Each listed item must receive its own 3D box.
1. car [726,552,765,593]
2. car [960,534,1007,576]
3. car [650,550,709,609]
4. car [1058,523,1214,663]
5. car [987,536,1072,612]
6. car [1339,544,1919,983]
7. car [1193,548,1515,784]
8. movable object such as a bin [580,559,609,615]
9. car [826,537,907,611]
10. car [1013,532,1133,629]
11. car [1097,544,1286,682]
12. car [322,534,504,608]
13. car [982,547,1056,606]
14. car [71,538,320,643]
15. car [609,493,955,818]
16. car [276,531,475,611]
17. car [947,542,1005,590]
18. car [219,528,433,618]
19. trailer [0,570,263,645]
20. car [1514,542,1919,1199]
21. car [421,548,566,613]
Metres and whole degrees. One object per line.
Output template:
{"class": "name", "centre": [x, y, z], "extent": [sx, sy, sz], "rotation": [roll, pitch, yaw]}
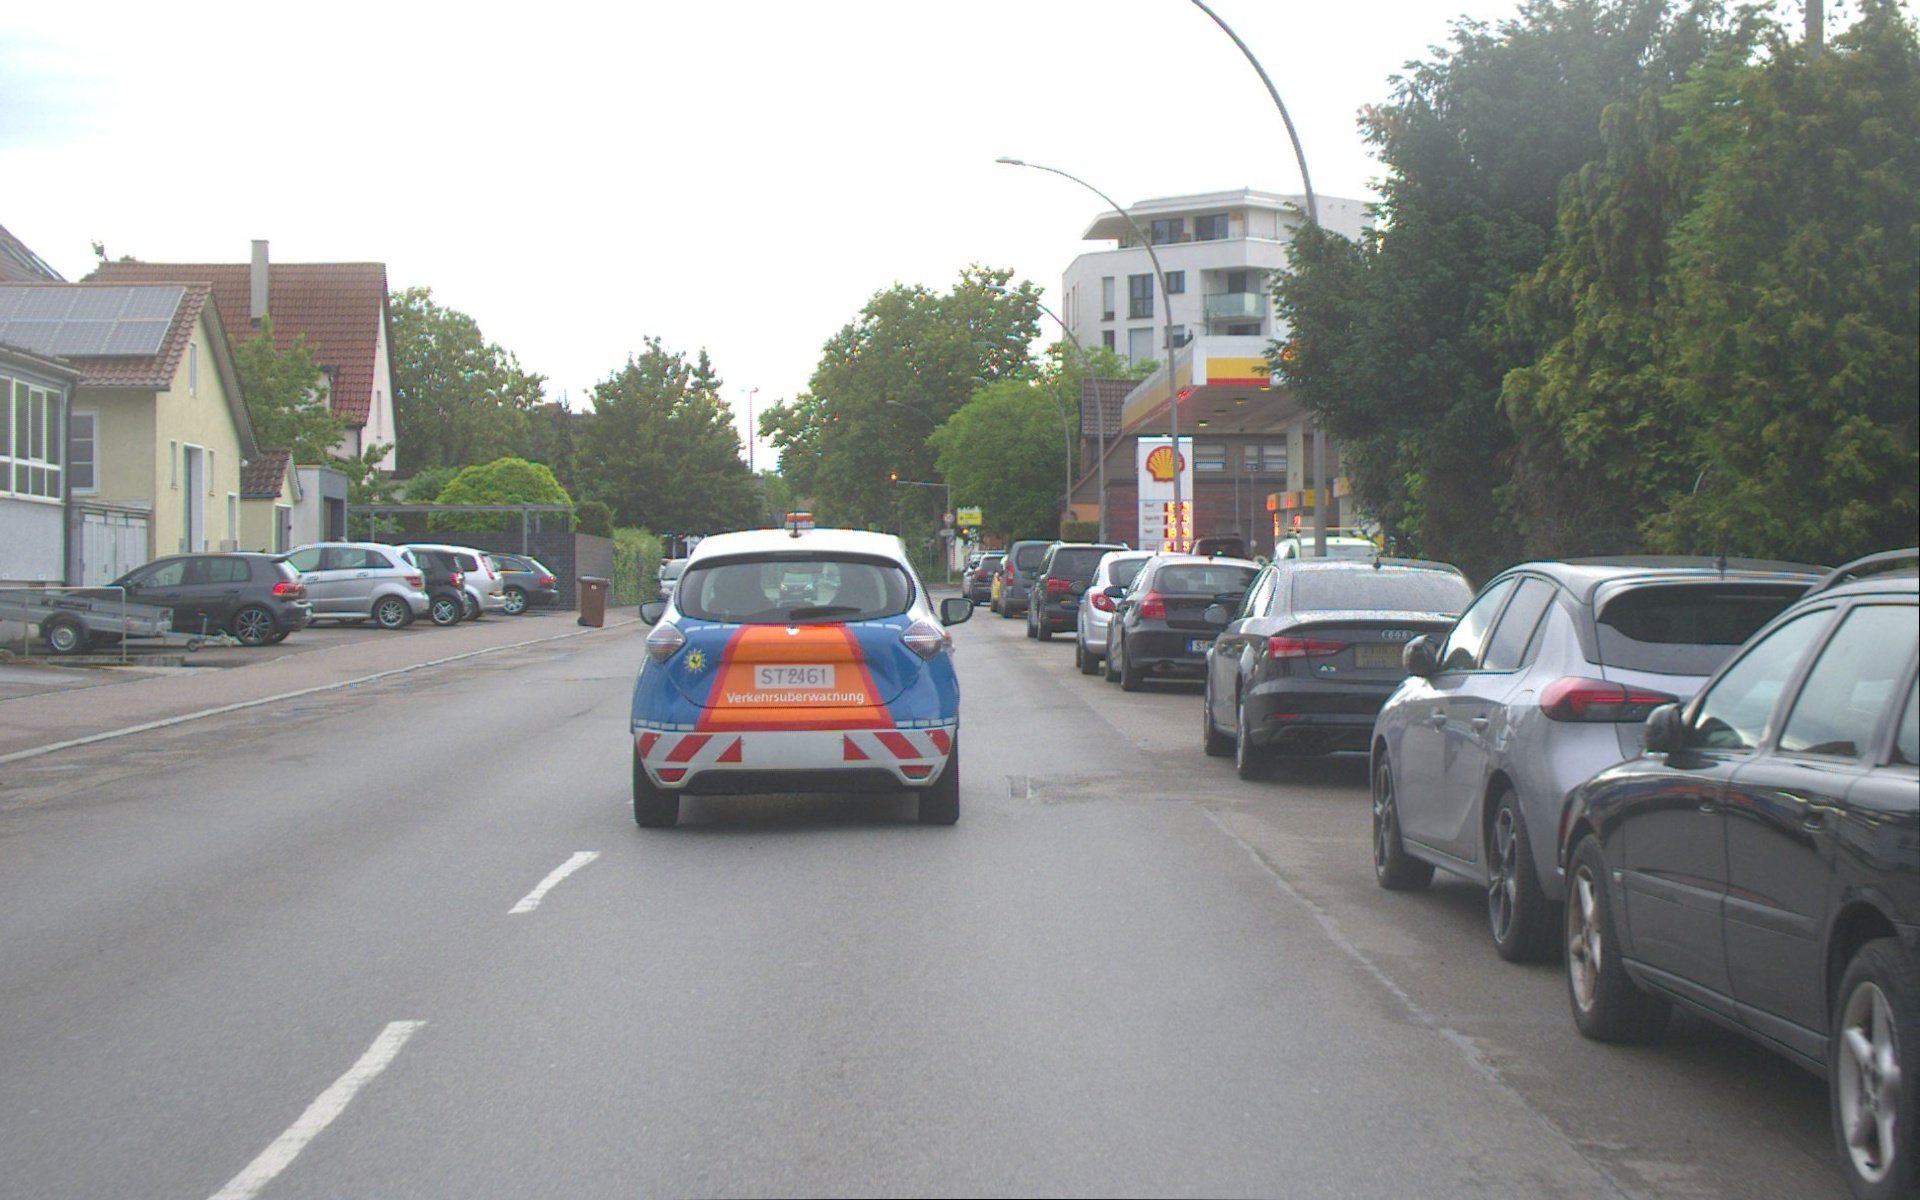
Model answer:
{"class": "car", "centre": [-6.716, -0.864, 108.015], "extent": [1.151, 1.228, 3.373], "rotation": [0, 1, -2]}
{"class": "car", "centre": [0.930, -1.814, 138.275], "extent": [1.650, 1.647, 4.000], "rotation": [1, 1, -2]}
{"class": "car", "centre": [-7.282, -0.559, 89.493], "extent": [1.386, 1.478, 3.784], "rotation": [0, 1, -2]}
{"class": "car", "centre": [2.068, -0.087, 41.304], "extent": [1.481, 1.550, 3.862], "rotation": [2, 0, -2]}
{"class": "car", "centre": [1.573, -0.602, 78.995], "extent": [1.650, 1.666, 4.000], "rotation": [1, 1, -2]}
{"class": "car", "centre": [2.562, 0.526, 13.504], "extent": [1.539, 1.424, 3.751], "rotation": [1, 1, -2]}
{"class": "car", "centre": [2.486, 0.369, 22.544], "extent": [1.605, 1.369, 4.087], "rotation": [1, 1, 0]}
{"class": "movable object such as a bin", "centre": [-7.935, -0.284, 74.662], "extent": [0.579, 1.200, 0.318], "rotation": [1, 1, -1]}
{"class": "car", "centre": [-2.045, -0.568, 74.565], "extent": [1.650, 1.516, 4.000], "rotation": [1, 1, -2]}
{"class": "car", "centre": [1.847, -0.340, 57.223], "extent": [1.650, 1.516, 4.000], "rotation": [1, 1, -2]}
{"class": "car", "centre": [2.377, 0.096, 36.102], "extent": [1.650, 1.331, 4.000], "rotation": [0, 1, -1]}
{"class": "car", "centre": [-11.515, -0.623, 72.503], "extent": [3.653, 1.478, 1.480], "rotation": [-1, 1, -5]}
{"class": "car", "centre": [1.513, -0.623, 89.818], "extent": [1.650, 1.478, 4.000], "rotation": [1, 1, -2]}
{"class": "car", "centre": [-11.921, -0.158, 53.771], "extent": [3.579, 1.521, 1.655], "rotation": [1, 1, -5]}
{"class": "car", "centre": [-0.943, 0.258, 19.025], "extent": [1.731, 1.625, 3.495], "rotation": [0, 1, -2]}
{"class": "car", "centre": [-11.662, -0.587, 68.718], "extent": [3.759, 1.478, 1.655], "rotation": [1, 1, -5]}
{"class": "car", "centre": [0.510, -1.091, 110.924], "extent": [1.650, 1.478, 4.000], "rotation": [1, 1, -2]}
{"class": "car", "centre": [-11.833, -0.505, 64.355], "extent": [3.759, 1.571, 1.655], "rotation": [1, 1, -5]}
{"class": "trailer", "centre": [-12.573, 0.108, 51.303], "extent": [4.022, 0.991, 1.655], "rotation": [1, 1, -2]}
{"class": "car", "centre": [2.760, 0.596, 8.749], "extent": [1.711, 1.433, 4.527], "rotation": [1, 1, -3]}
{"class": "car", "centre": [-10.920, -0.469, 80.638], "extent": [3.281, 1.443, 1.480], "rotation": [-1, 1, -5]}
